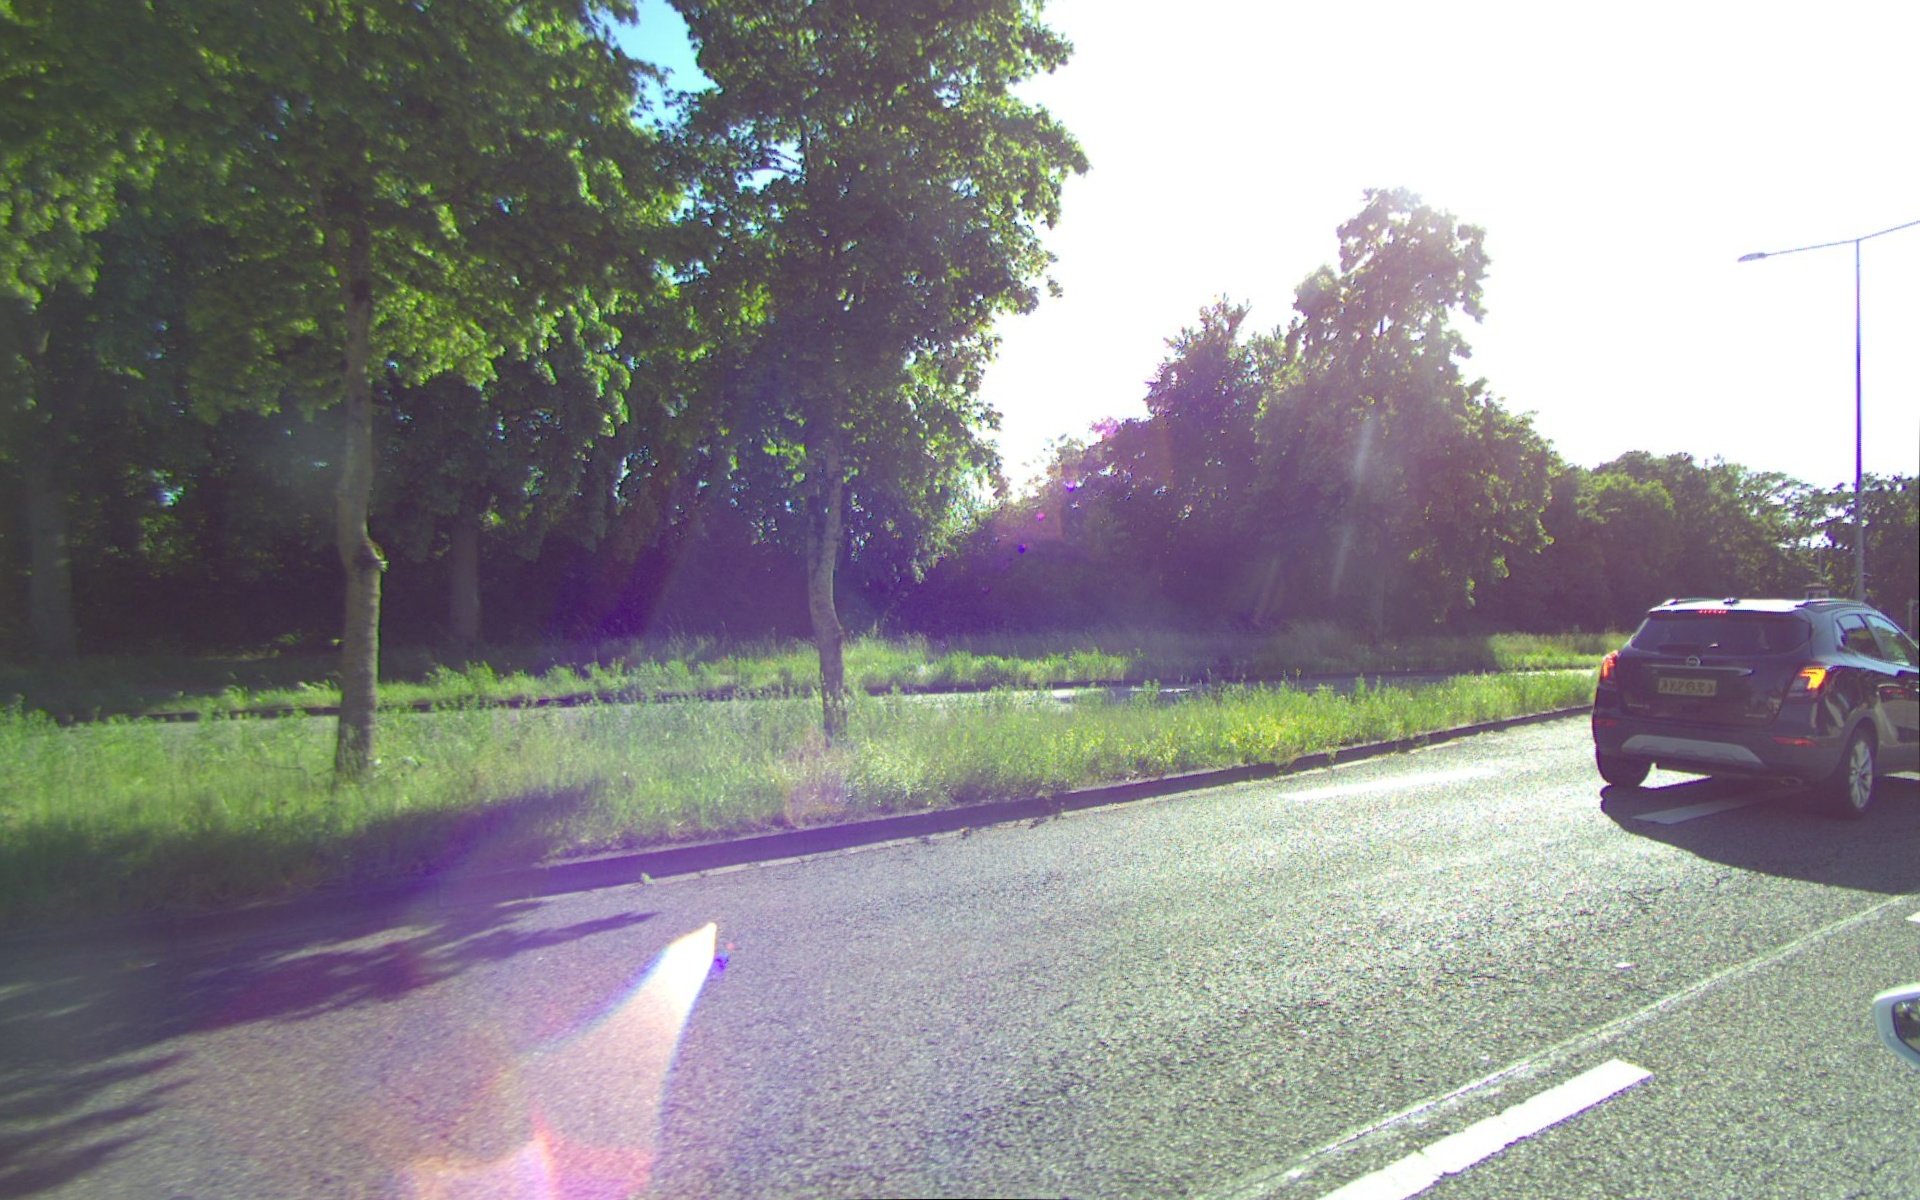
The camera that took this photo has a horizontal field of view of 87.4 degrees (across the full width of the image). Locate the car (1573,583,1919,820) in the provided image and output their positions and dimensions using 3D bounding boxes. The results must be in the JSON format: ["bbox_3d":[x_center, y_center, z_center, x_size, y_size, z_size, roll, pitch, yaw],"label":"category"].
[{"bbox_3d":[7.469,0.770,8.951,4.370,1.654,1.686,2,0,-33],"label":"car"}]

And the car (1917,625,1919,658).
[{"bbox_3d":[53.338,2.357,53.822,4.360,1.726,1.901,3,1,-33],"label":"car"}]
